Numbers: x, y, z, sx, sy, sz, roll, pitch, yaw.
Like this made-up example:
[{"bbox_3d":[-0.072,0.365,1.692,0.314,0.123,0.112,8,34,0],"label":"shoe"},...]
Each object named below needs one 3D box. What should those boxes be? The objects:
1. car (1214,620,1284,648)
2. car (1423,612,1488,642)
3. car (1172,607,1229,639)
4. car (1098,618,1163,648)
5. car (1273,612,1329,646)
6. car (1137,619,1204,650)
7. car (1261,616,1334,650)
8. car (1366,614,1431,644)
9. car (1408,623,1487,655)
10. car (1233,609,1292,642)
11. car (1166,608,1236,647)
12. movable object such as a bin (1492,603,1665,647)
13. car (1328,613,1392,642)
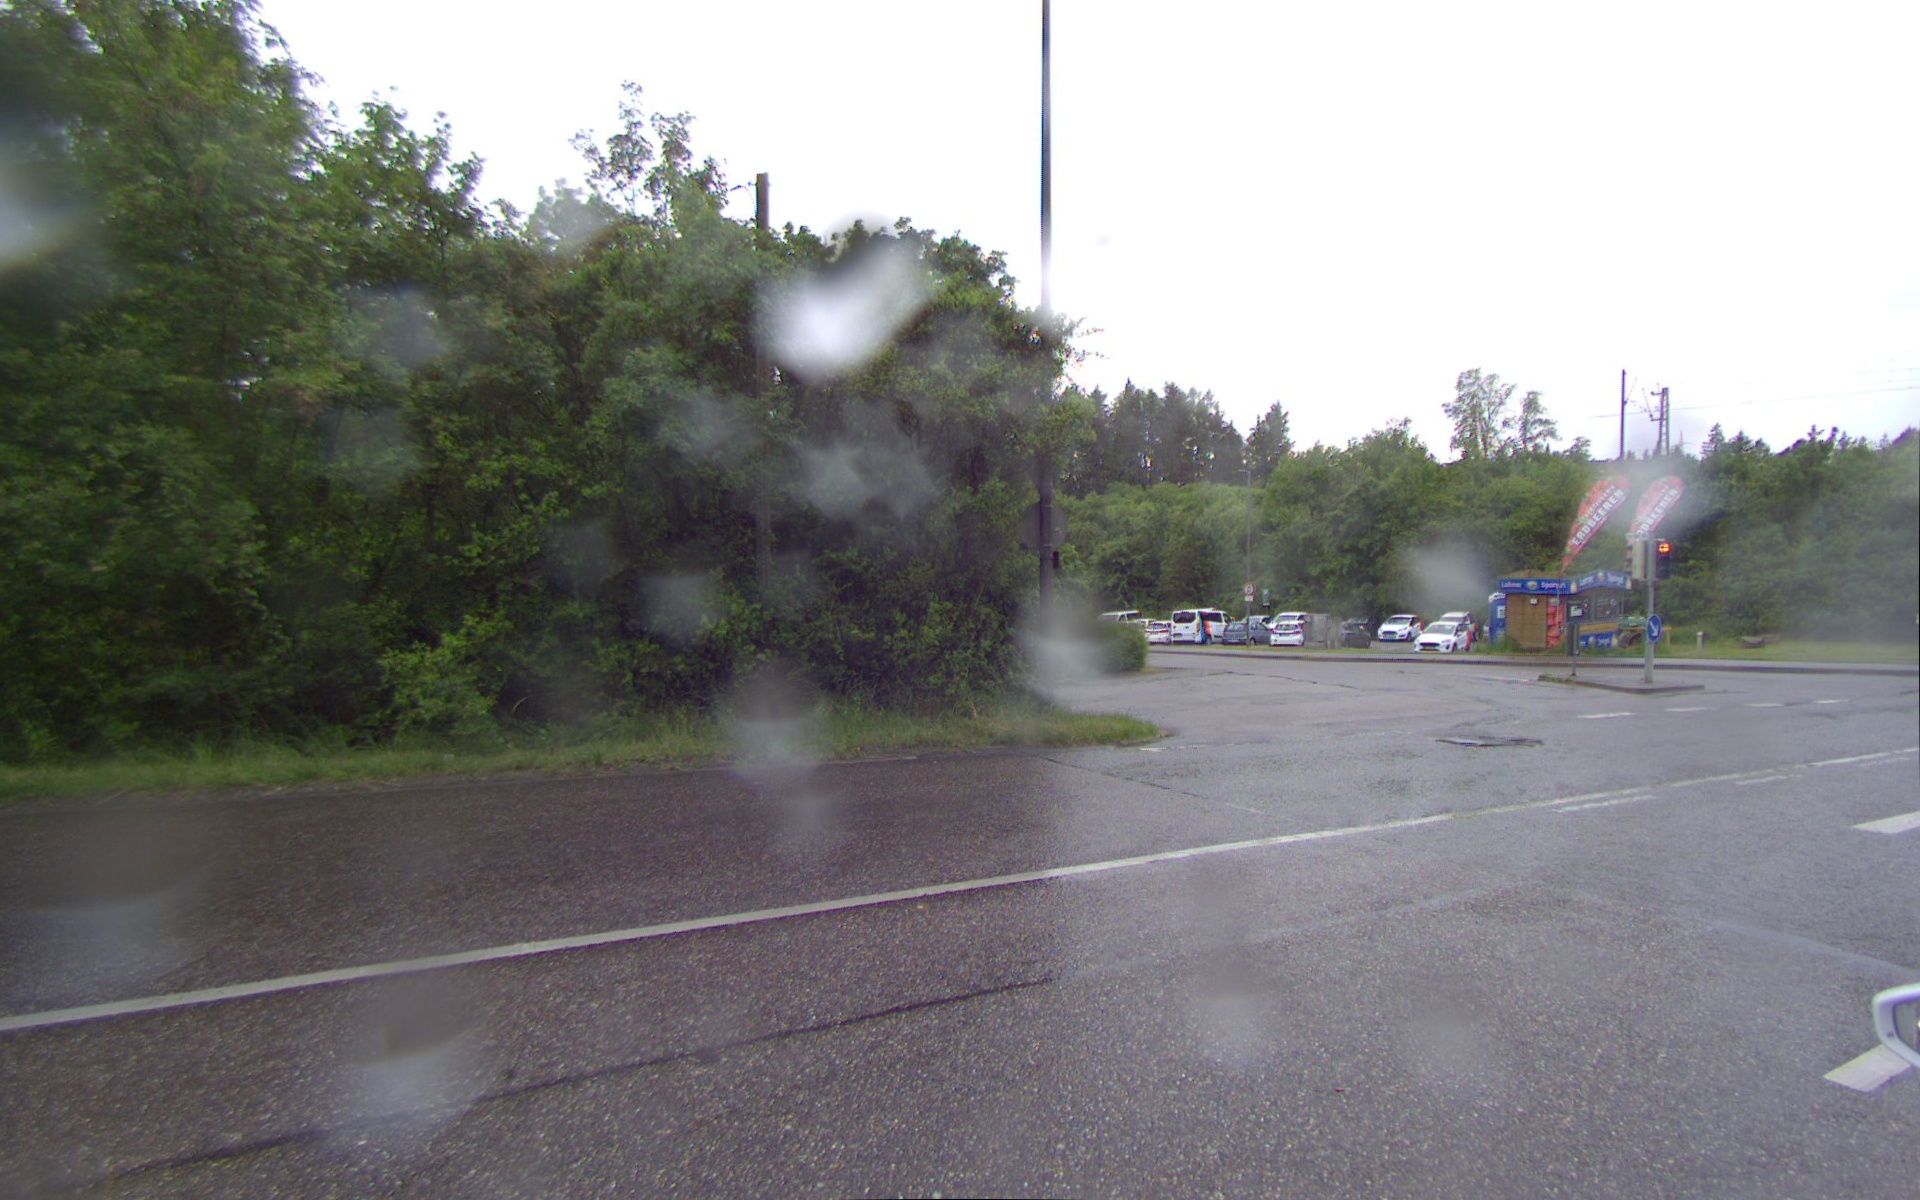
[{"bbox_3d":[15.293,1.790,53.014,3.972,1.327,1.734,3,-1,-43],"label":"car"},{"bbox_3d":[27.269,1.469,55.239,3.972,1.606,1.975,2,-2,-43],"label":"car"},{"bbox_3d":[16.275,1.551,67.858,3.973,2.040,1.974,2,-1,-44],"label":"car"},{"bbox_3d":[9.894,1.924,58.097,1.813,1.606,3.978,1,-1,42],"label":"car"},{"bbox_3d":[21.336,1.787,62.776,1.916,2.040,3.846,1,0,43],"label":"car"},{"bbox_3d":[11.809,1.949,56.200,1.834,1.606,3.978,1,-1,42],"label":"car"},{"bbox_3d":[17.253,1.699,51.232,3.880,1.606,1.918,3,-1,-43],"label":"car"},{"bbox_3d":[25.027,1.662,57.275,3.972,1.606,1.975,3,-1,-43],"label":"car"},{"bbox_3d":[22.644,1.834,46.558,4.868,1.358,1.636,3,-1,-43],"label":"car"},{"bbox_3d":[19.466,1.655,64.658,3.973,2.040,1.974,2,-2,-44],"label":"car"},{"bbox_3d":[13.032,1.512,54.263,1.971,1.974,3.978,1,-1,42],"label":"car"},{"bbox_3d":[26.244,1.048,42.883,5.663,1.649,2.753,2,-1,10],"label":"movable object such as a bin"},{"bbox_3d":[23.614,1.638,59.230,3.972,1.606,1.975,3,-1,-43],"label":"car"}]
